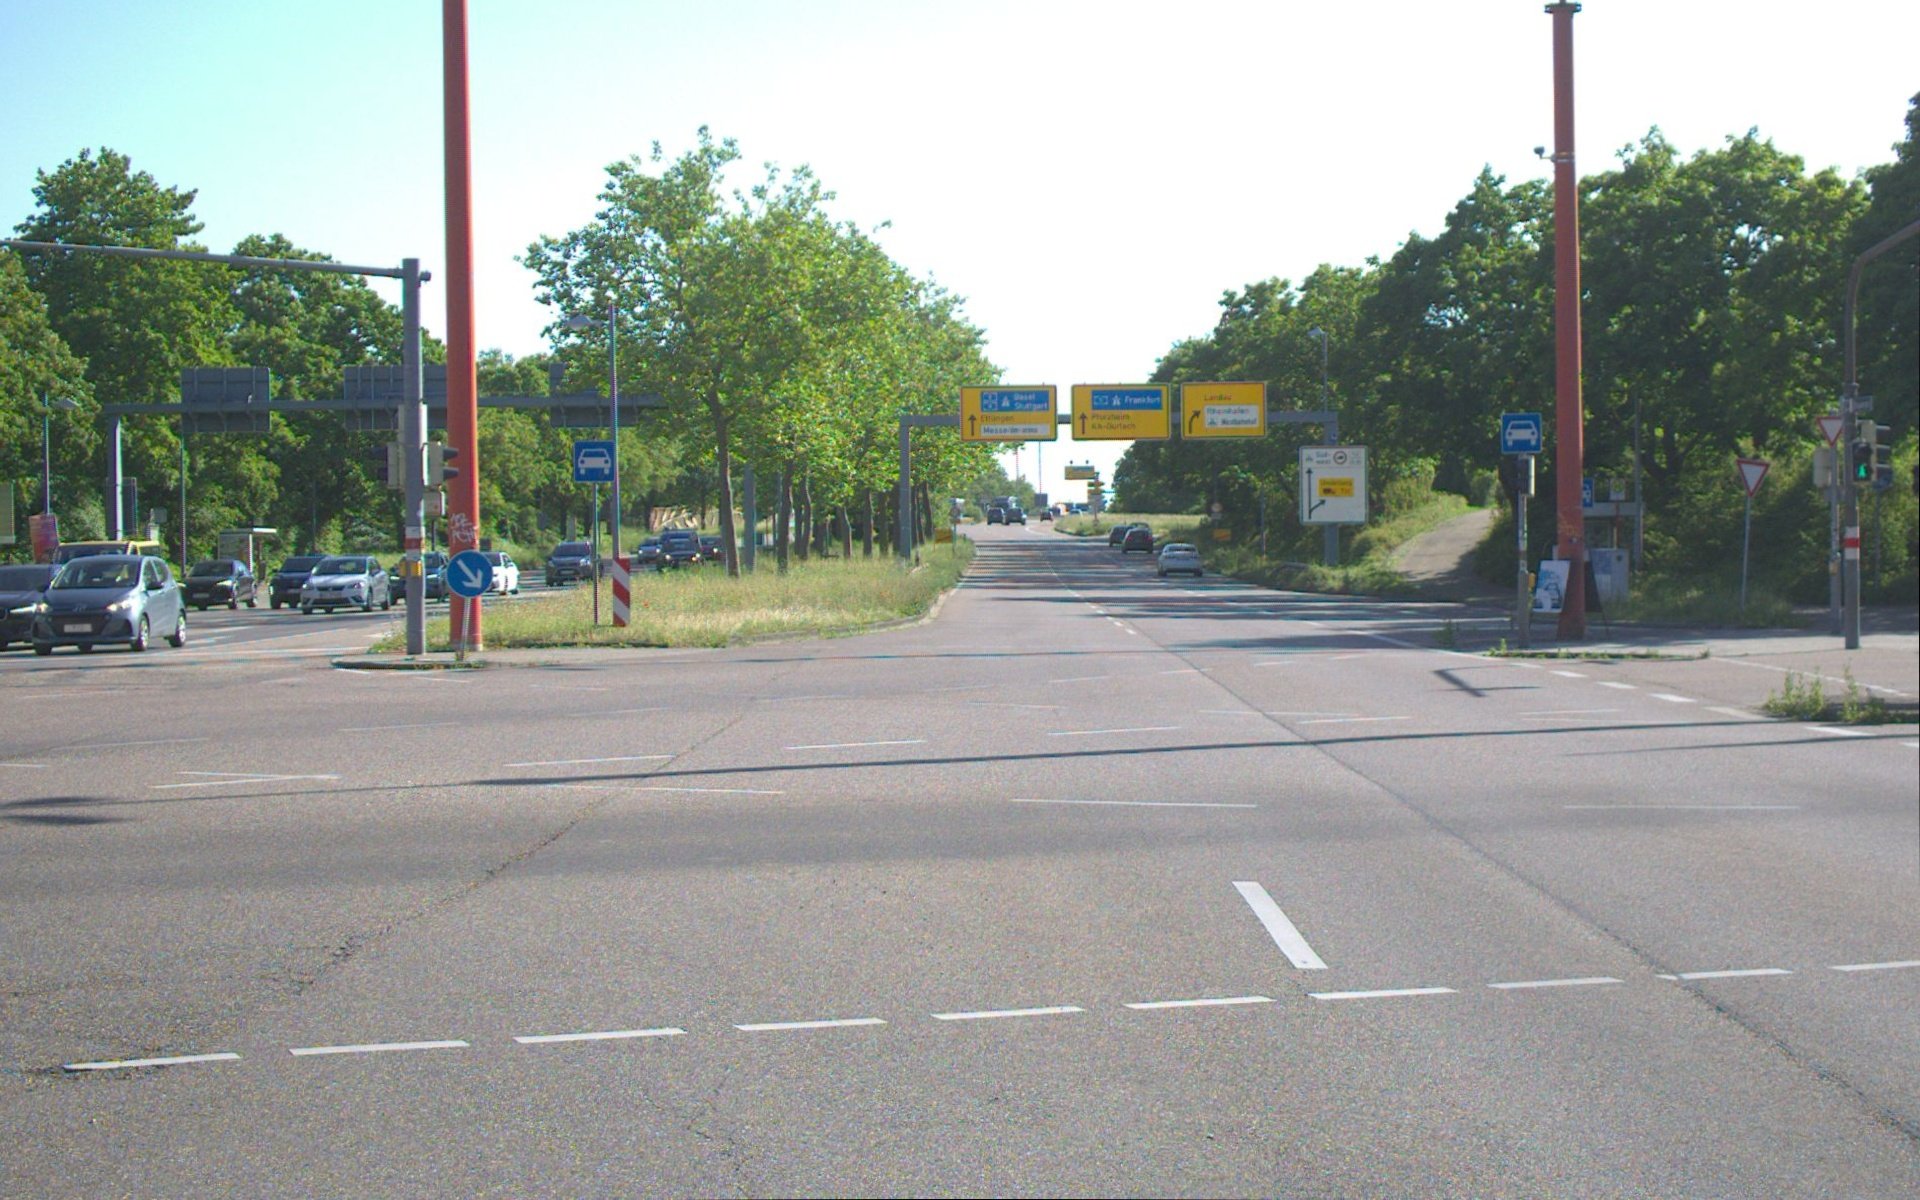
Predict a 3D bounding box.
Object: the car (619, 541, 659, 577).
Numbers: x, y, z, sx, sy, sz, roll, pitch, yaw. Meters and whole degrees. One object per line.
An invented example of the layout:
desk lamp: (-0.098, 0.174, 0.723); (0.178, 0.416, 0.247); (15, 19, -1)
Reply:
car: (-17.985, -2.288, 192.689); (2.003, 2.007, 4.000); (0, 1, -2)

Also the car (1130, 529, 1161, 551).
car: (11.191, -3.607, 207.620); (1.738, 1.337, 3.081); (0, 1, 1)

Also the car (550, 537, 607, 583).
car: (-14.756, -1.574, 133.118); (1.626, 1.733, 4.000); (0, 1, 2)

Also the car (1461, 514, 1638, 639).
car: (9.267, -0.393, 53.857); (1.995, 1.881, 3.996); (0, 1, 21)

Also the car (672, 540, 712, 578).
car: (-14.473, -2.192, 185.822); (2.003, 2.007, 4.000); (0, 1, -2)

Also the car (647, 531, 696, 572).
car: (-12.515, -2.104, 149.167); (1.657, 1.741, 4.000); (1, 1, 2)

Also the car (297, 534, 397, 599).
car: (-15.657, -0.857, 87.996); (1.704, 1.590, 4.000); (1, 1, 2)

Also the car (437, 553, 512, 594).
car: (-15.924, -0.888, 112.894); (2.003, 1.303, 4.000); (-1, 1, -2)

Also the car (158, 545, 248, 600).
car: (-23.103, -0.831, 105.029); (1.993, 1.633, 4.000); (0, 1, -2)

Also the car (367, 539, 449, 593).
car: (-16.210, -0.996, 101.060); (1.704, 1.553, 3.803); (1, 1, 2)

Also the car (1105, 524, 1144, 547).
car: (11.137, -4.360, 232.575); (1.993, 1.491, 4.001); (-1, 1, -7)

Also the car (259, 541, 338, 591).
car: (-19.584, -1.019, 101.886); (1.628, 1.445, 3.434); (1, 1, 1)

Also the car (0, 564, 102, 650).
car: (-15.971, 0.095, 58.138); (1.628, 1.363, 4.796); (0, 1, 1)

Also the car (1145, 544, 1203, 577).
car: (9.213, -1.713, 148.319); (2.054, 1.366, 4.392); (-1, 1, -2)

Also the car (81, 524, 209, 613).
car: (-18.964, -0.737, 80.200); (1.757, 1.980, 4.789); (1, 1, 1)

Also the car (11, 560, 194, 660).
car: (-13.231, 0.135, 53.256); (1.701, 1.416, 4.000); (3, 0, 1)
